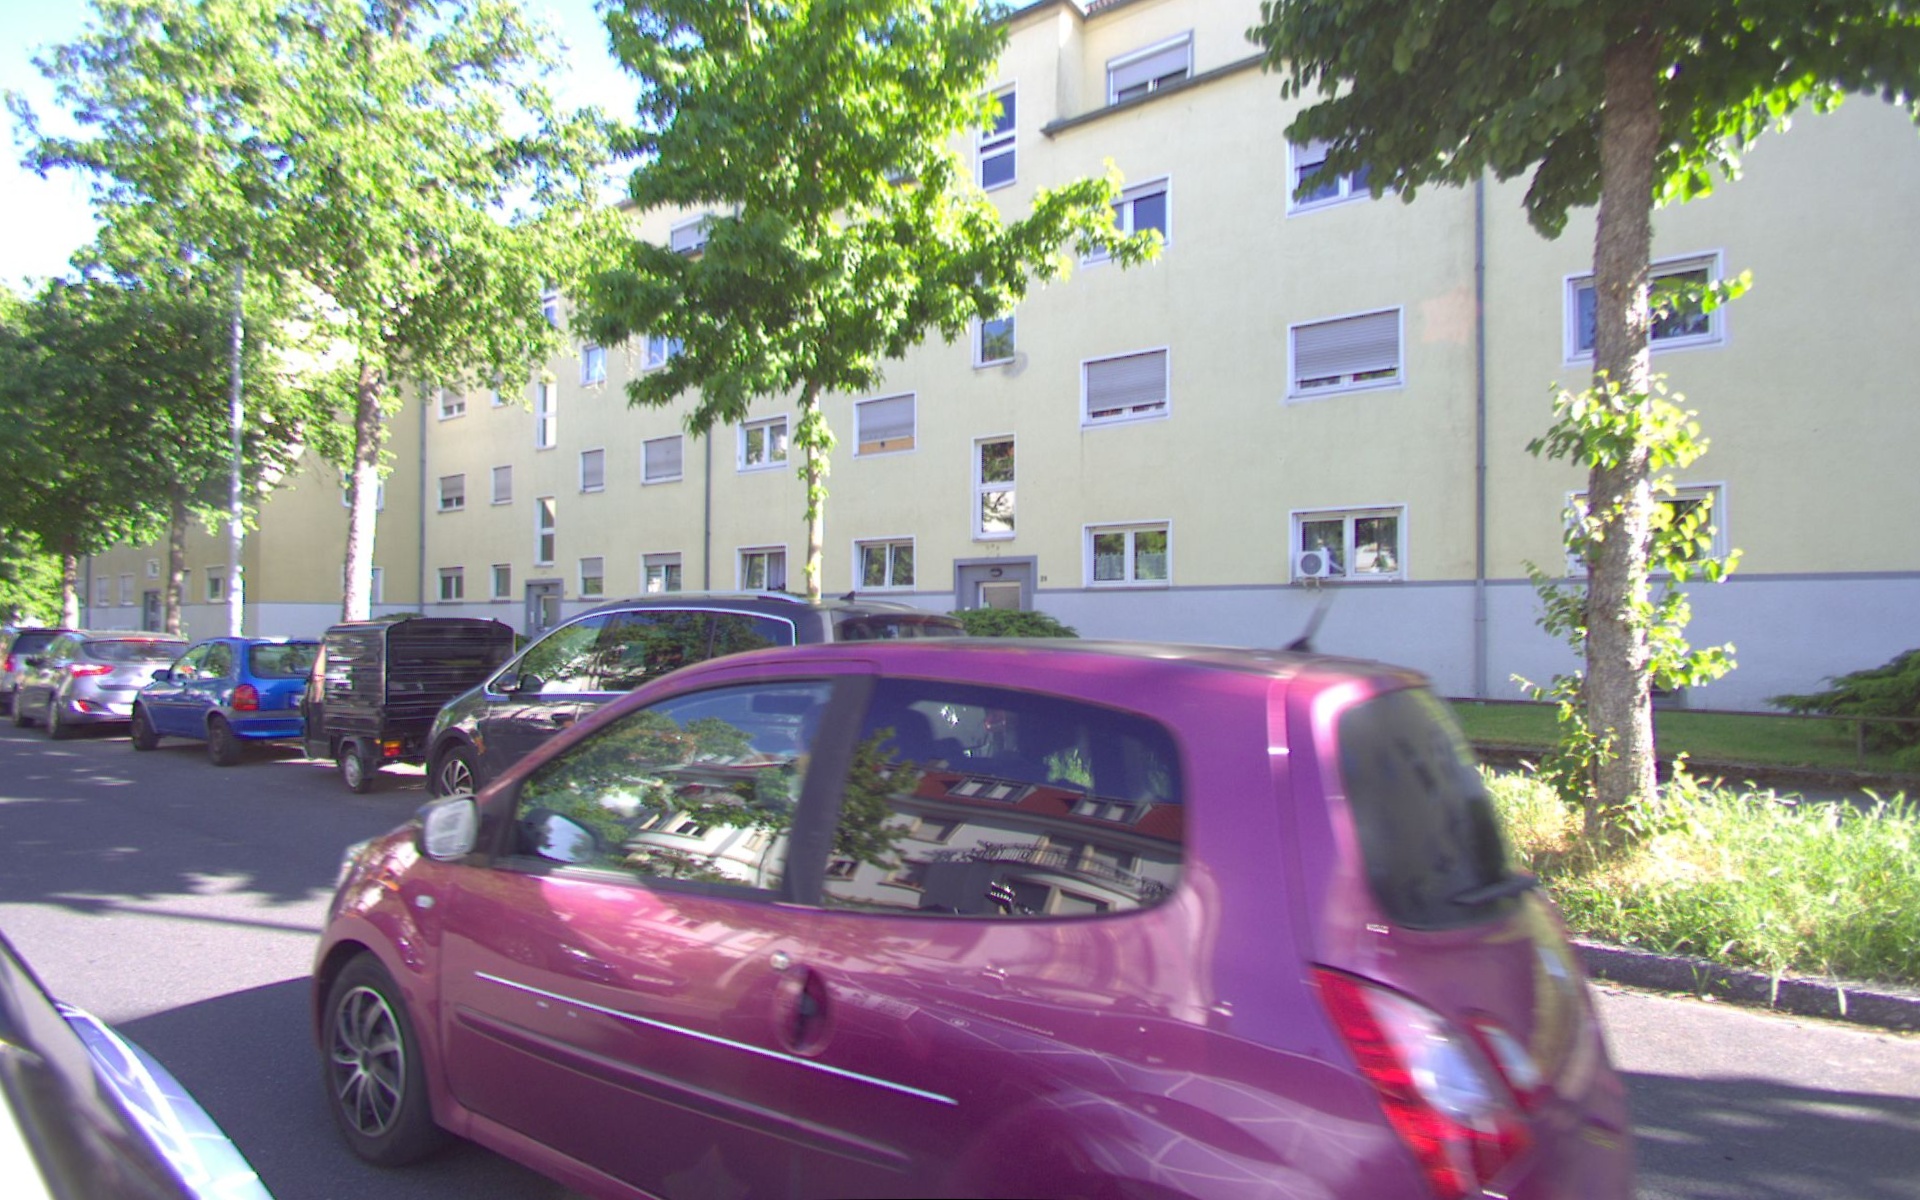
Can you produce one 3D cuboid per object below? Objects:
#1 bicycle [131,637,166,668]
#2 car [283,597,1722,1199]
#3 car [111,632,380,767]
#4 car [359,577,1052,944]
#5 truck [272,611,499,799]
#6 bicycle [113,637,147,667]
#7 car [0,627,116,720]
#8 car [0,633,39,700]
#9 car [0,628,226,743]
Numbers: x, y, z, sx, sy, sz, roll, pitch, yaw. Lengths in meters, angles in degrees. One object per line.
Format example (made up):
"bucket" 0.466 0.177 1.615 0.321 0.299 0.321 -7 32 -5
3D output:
"bicycle" -27.478 1.769 34.242 1.746 1.034 0.530 -1 -2 38
"car" -0.124 0.769 2.567 3.168 1.437 1.493 -1 -3 33
"car" -8.749 1.093 12.305 3.718 1.406 1.507 -1 -2 35
"car" -1.975 0.850 6.937 4.967 1.693 1.832 -1 -5 36
"truck" -5.602 0.933 9.807 2.429 1.589 1.073 -2 -3 39
"bicycle" -29.025 1.801 35.395 1.746 1.034 0.535 -1 -2 38
"car" -17.126 1.297 18.534 4.262 1.527 1.605 -1 -5 38
"car" -21.863 1.399 22.095 4.666 1.379 1.729 -1 -3 37
"car" -12.756 1.180 15.016 4.682 1.455 1.774 -1 -4 38
